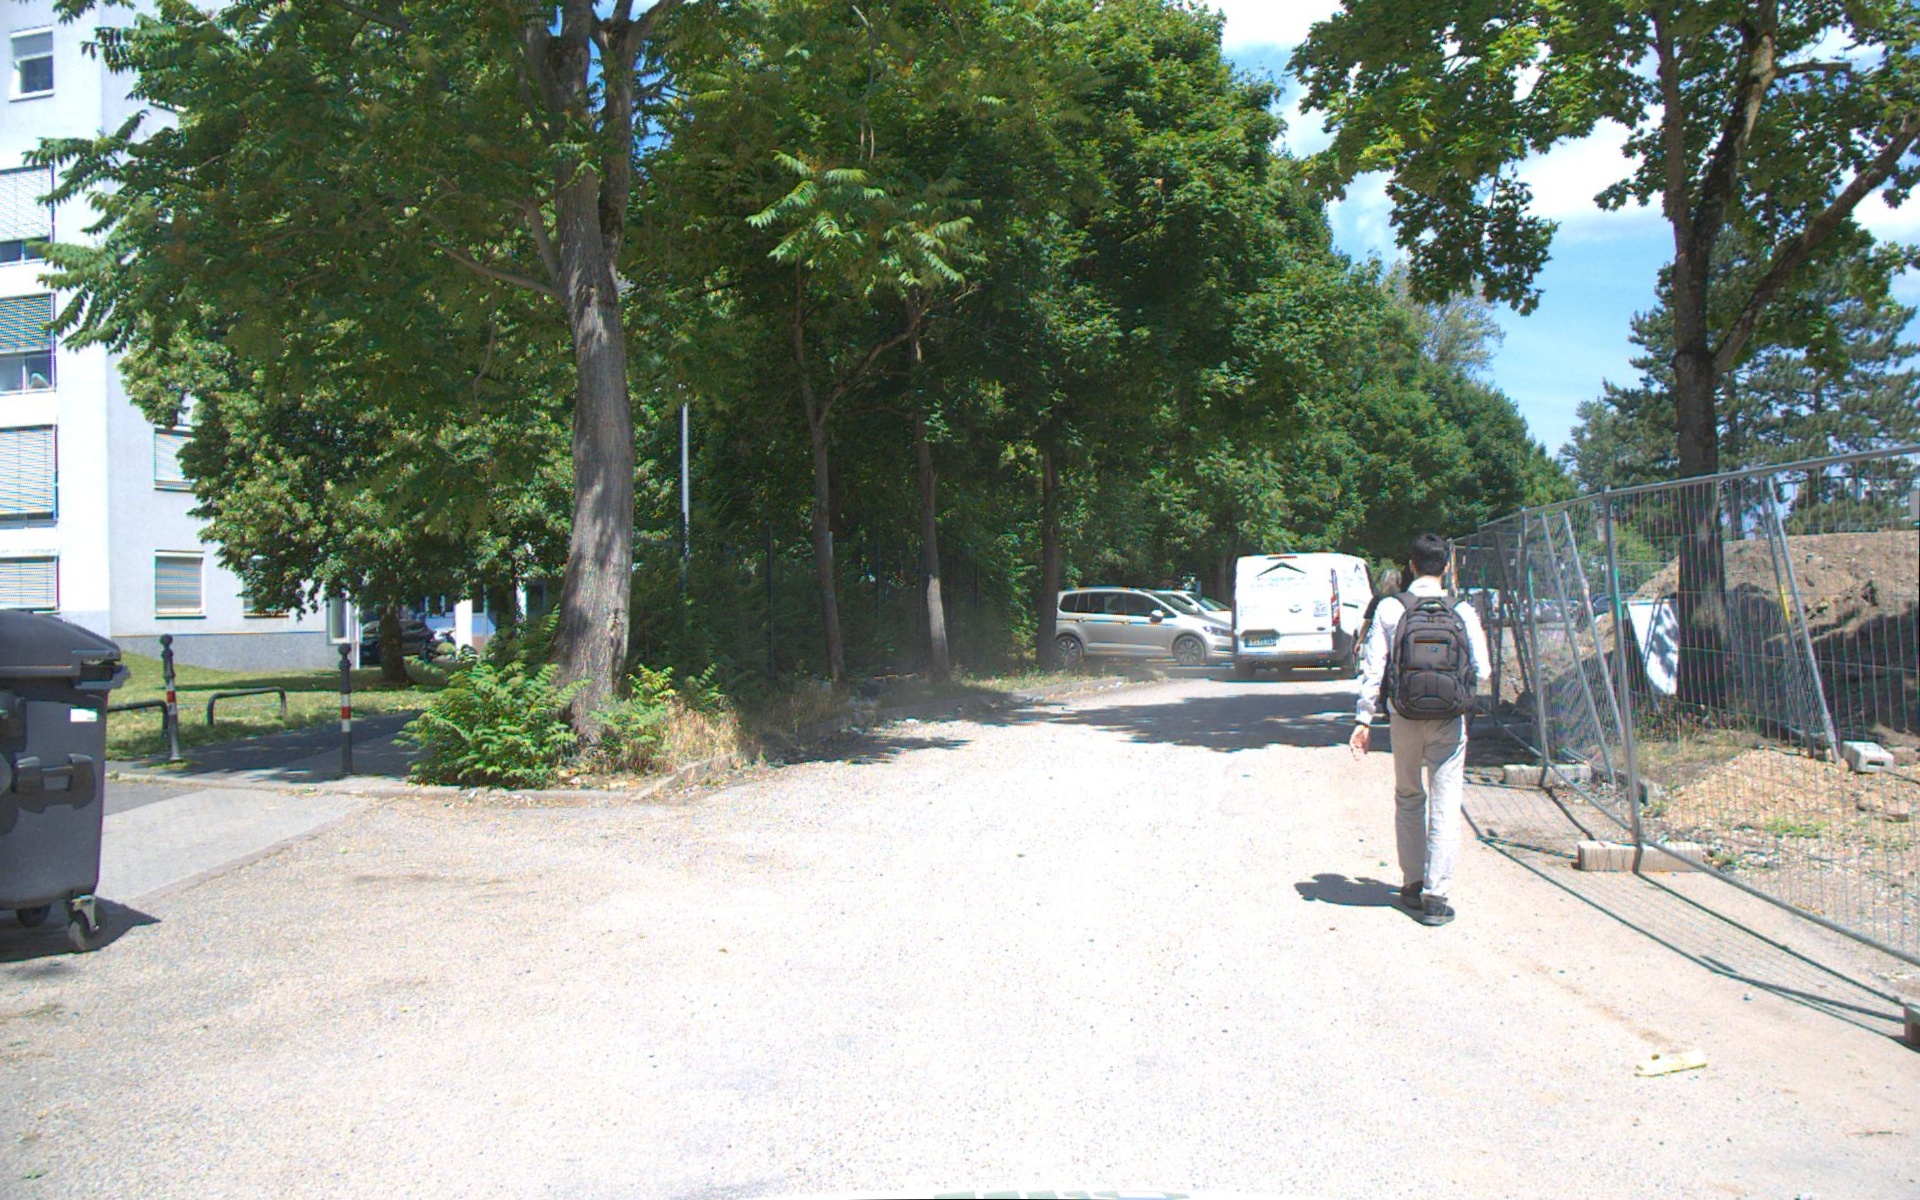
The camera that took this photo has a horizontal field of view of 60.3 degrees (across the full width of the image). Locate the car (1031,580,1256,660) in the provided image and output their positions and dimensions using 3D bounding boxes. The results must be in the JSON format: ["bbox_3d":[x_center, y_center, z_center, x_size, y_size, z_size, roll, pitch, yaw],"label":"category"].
[{"bbox_3d":[3.959,0.470,35.709,4.417,1.637,1.998,-1,-2,26],"label":"car"}]

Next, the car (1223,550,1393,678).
[{"bbox_3d":[5.969,0.208,27.926,1.933,1.981,4.579,-1,0,23],"label":"car"}]

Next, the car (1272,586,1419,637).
[{"bbox_3d":[12.741,0.389,54.689,4.416,1.625,1.935,-1,0,25],"label":"car"}]

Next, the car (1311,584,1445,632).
[{"bbox_3d":[14.983,0.283,59.269,4.416,1.625,1.725,-1,1,25],"label":"car"}]

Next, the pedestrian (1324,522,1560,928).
[{"bbox_3d":[2.217,0.541,7.740,0.855,1.759,1.081,-1,1,6],"label":"pedestrian"}]

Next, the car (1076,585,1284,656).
[{"bbox_3d":[5.044,0.469,37.997,4.416,1.558,1.724,-1,0,25],"label":"car"}]

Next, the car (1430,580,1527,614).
[{"bbox_3d":[25.646,-0.156,81.847,4.416,1.625,1.725,-1,0,25],"label":"car"}]

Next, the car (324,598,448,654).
[{"bbox_3d":[-18.002,0.794,52.002,1.635,1.649,3.626,-1,0,25],"label":"car"}]

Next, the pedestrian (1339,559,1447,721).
[{"bbox_3d":[4.646,0.415,17.823,1.013,1.679,1.050,-1,1,9],"label":"pedestrian"}]

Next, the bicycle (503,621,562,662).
[{"bbox_3d":[-12.286,1.182,47.617,0.587,1.103,1.939,-1,0,23],"label":"bicycle"}]

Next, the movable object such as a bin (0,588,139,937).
[{"bbox_3d":[-4.327,0.673,7.170,1.106,1.418,1.143,-1,0,-42],"label":"movable object such as a bin"}]
